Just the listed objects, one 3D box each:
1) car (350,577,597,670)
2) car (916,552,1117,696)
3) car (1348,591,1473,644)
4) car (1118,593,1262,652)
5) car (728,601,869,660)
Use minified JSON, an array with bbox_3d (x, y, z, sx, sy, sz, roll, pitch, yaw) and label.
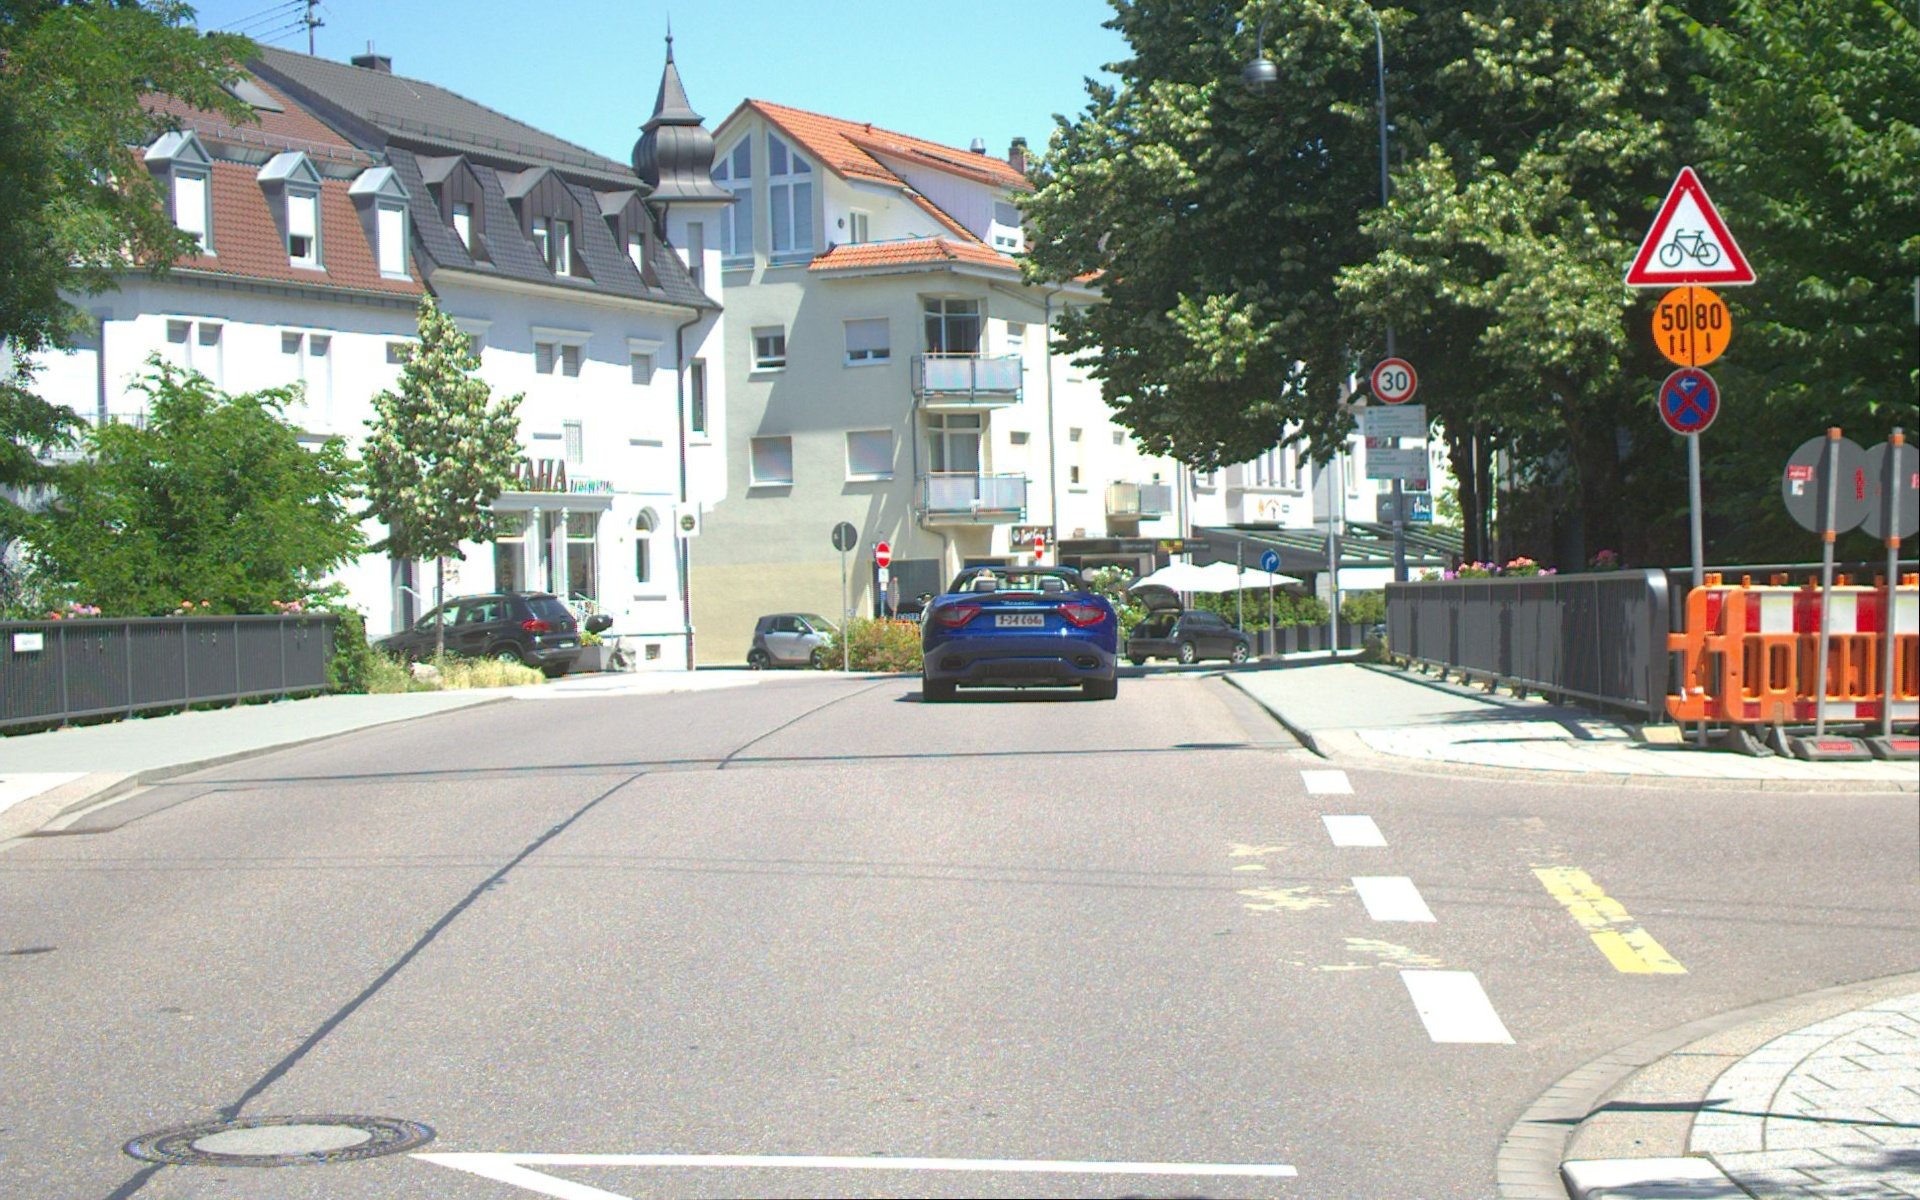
[{"bbox_3d":[-9.218,0.450,65.115,4.185,1.656,1.968,-2,-1,23],"label":"car"},{"bbox_3d":[0.591,0.218,34.420,1.871,1.337,4.596,0,0,2],"label":"car"},{"bbox_3d":[12.853,0.480,97.871,1.837,1.425,4.774,0,1,30],"label":"car"},{"bbox_3d":[6.002,0.583,89.269,1.716,1.455,4.120,1,0,38],"label":"car"},{"bbox_3d":[-4.267,0.811,91.002,3.266,1.453,1.690,-2,0,23],"label":"car"}]
